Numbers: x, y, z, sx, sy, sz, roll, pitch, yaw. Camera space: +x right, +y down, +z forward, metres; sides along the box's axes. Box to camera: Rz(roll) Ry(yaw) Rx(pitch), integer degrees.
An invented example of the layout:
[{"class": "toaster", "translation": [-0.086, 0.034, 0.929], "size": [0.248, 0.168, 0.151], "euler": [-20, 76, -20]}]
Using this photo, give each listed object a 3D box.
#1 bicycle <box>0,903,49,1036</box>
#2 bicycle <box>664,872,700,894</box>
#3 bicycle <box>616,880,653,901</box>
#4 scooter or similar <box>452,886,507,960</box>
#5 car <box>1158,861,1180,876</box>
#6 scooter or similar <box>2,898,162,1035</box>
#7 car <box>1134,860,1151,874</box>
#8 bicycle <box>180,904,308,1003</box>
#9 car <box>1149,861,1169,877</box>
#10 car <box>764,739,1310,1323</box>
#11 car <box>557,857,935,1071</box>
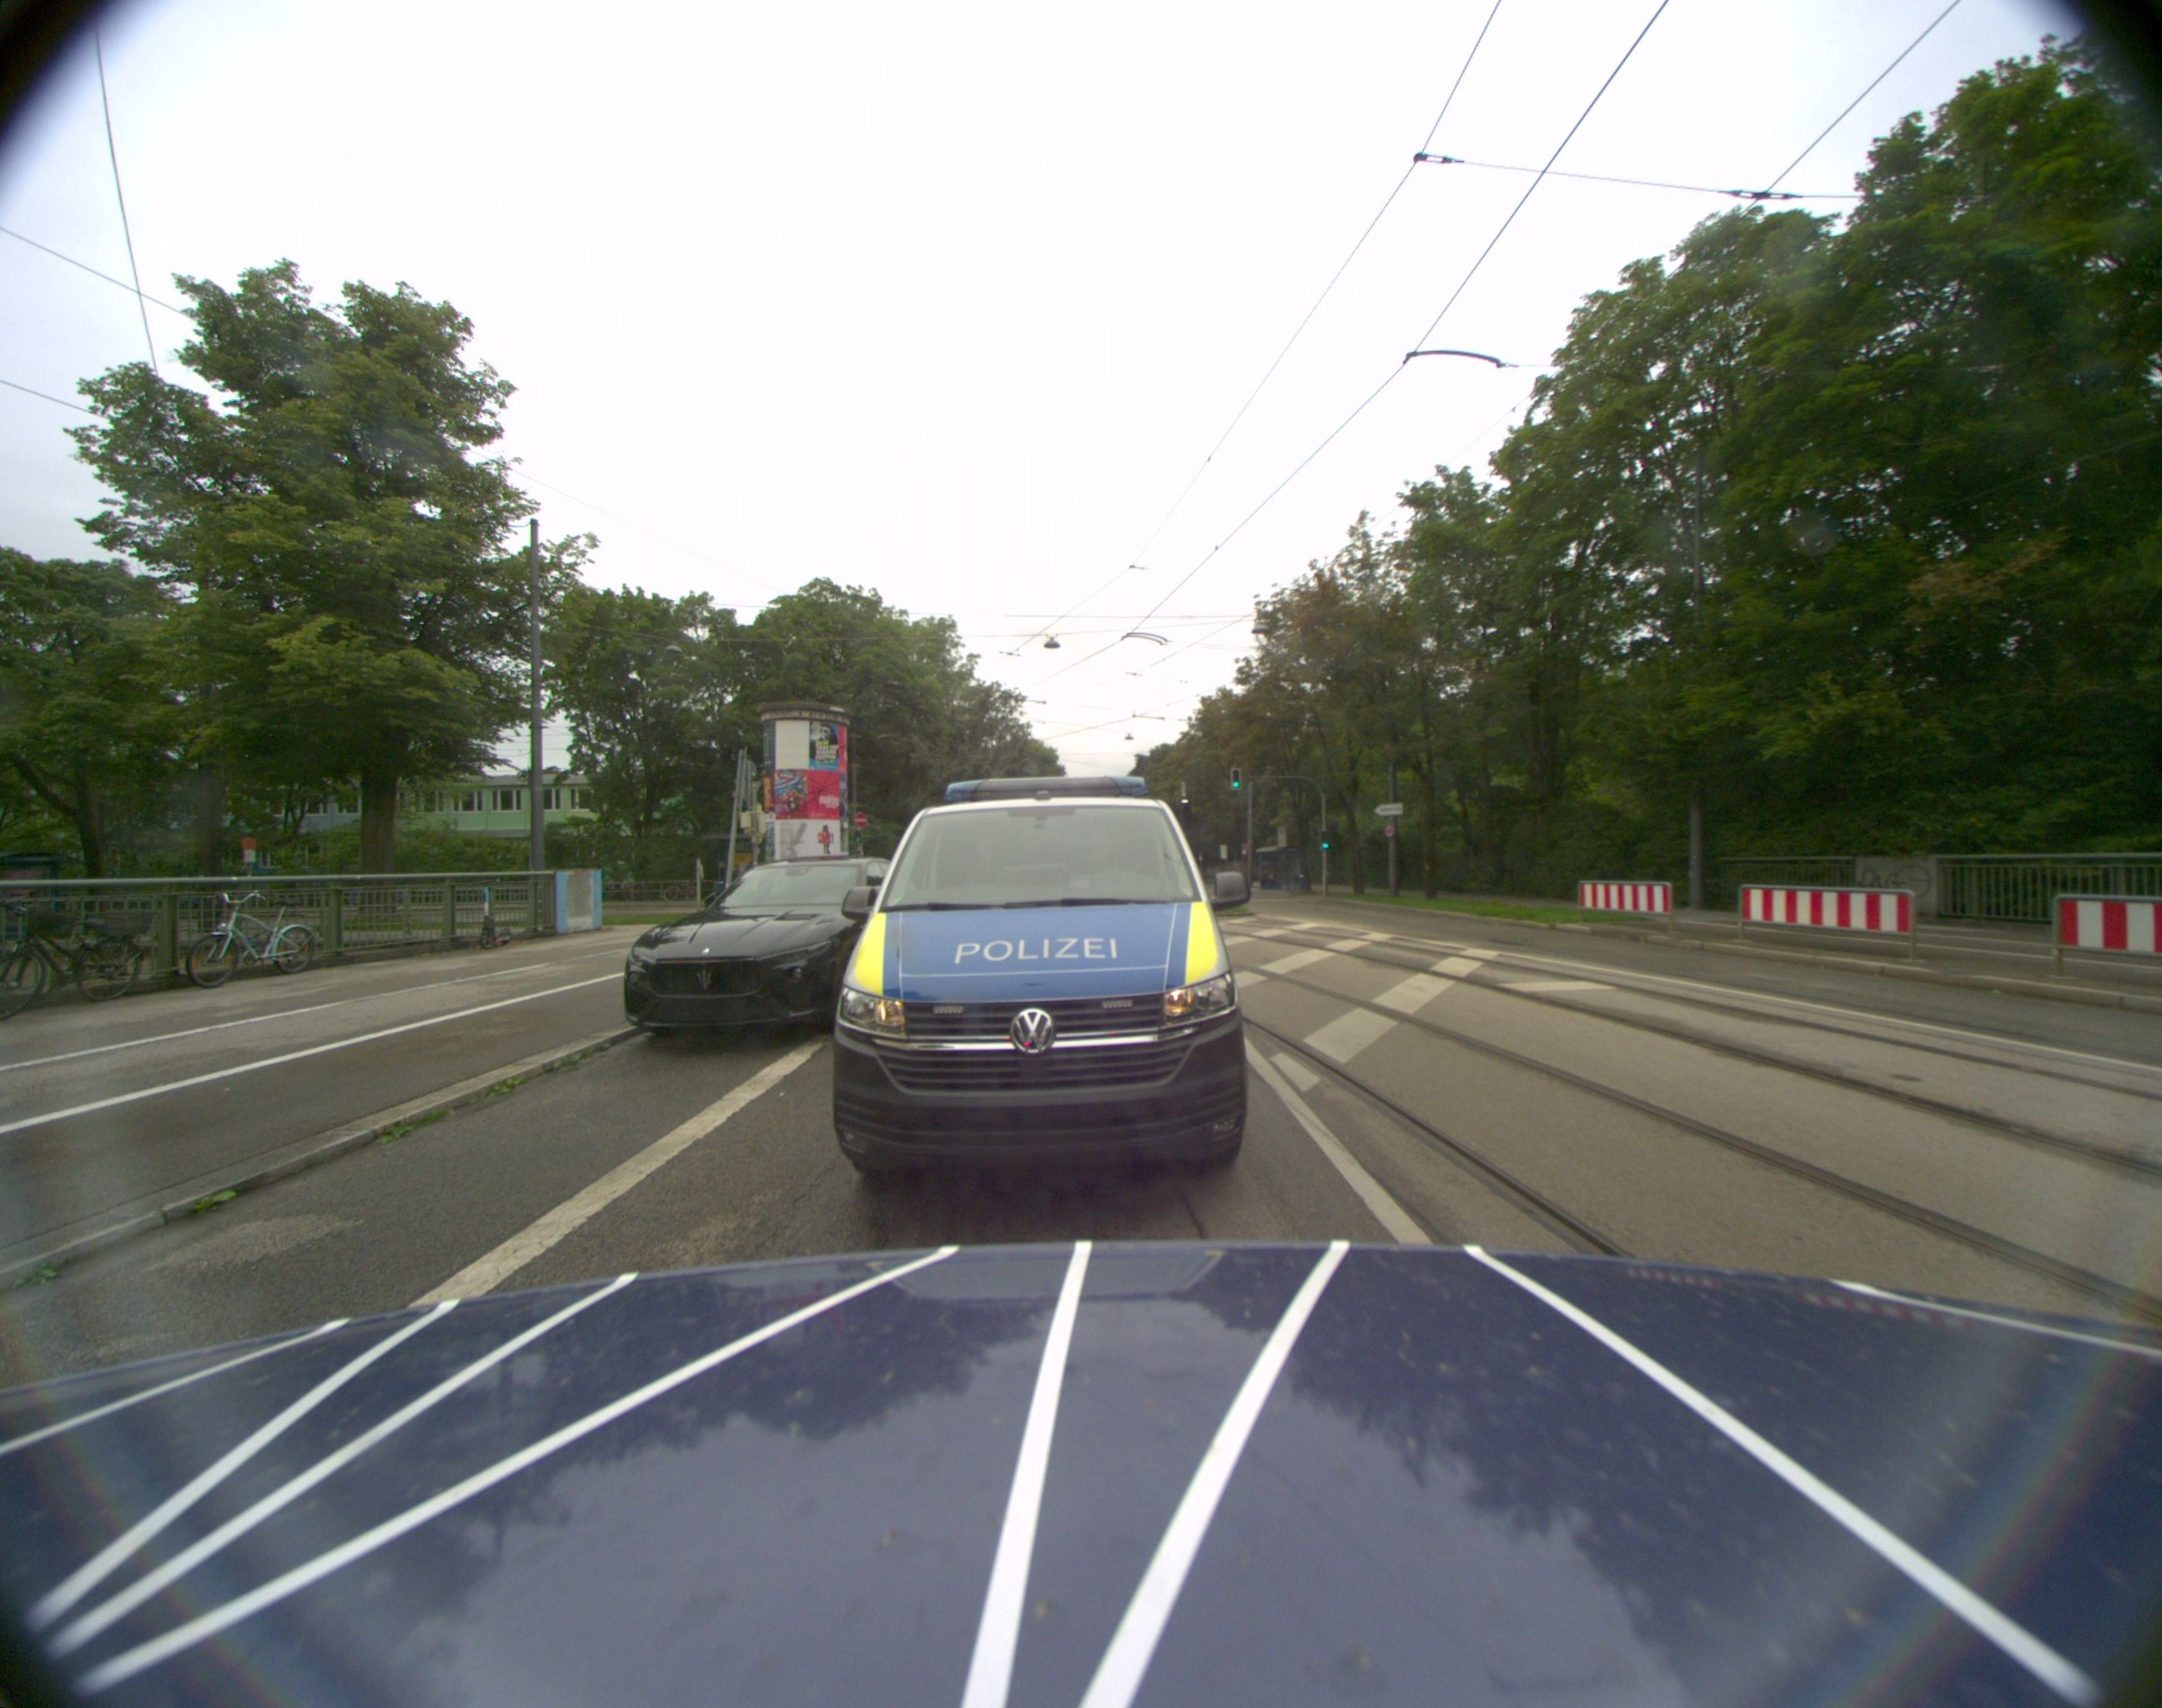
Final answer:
[{"class": "bicycle", "translation": [-10.603, 1.139, 7.127], "size": [0.283, 1.274, 1.408], "euler": [-3, 0, -19]}, {"class": "bicycle", "translation": [-18.641, 1.358, 35.481], "size": [1.483, 0.946, 0.373], "euler": [-1, 1, 3]}, {"class": "bicycle", "translation": [-20.864, 1.697, 35.518], "size": [1.483, 0.946, 0.373], "euler": [-1, 1, 3]}, {"class": "scooter or similar", "translation": [-10.602, 1.200, 13.417], "size": [0.225, 1.205, 1.020], "euler": [-3, 1, -8]}, {"class": "car", "translation": [9.906, 1.600, 85.640], "size": [1.888, 1.531, 3.999], "euler": [-3, 0, -1]}, {"class": "scooter or similar", "translation": [-10.599, 1.137, 8.119], "size": [0.245, 1.255, 1.493], "euler": [-3, 0, -22]}, {"class": "car", "translation": [8.591, 1.791, 105.751], "size": [1.888, 1.716, 3.999], "euler": [-3, 0, -1]}, {"class": "bicycle", "translation": [-10.752, 1.235, 9.821], "size": [0.265, 1.076, 1.540], "euler": [-3, 0, -14]}, {"class": "car", "translation": [9.320, 1.797, 91.087], "size": [1.888, 1.716, 3.999], "euler": [-3, 0, -1]}, {"class": "car", "translation": [-0.193, 0.620, 5.542], "size": [1.903, 2.041, 5.708], "euler": [-1, 0, -1]}, {"class": "car", "translation": [-3.073, 0.886, 8.279], "size": [1.905, 1.600, 4.665], "euler": [-3, -1, 1]}]
